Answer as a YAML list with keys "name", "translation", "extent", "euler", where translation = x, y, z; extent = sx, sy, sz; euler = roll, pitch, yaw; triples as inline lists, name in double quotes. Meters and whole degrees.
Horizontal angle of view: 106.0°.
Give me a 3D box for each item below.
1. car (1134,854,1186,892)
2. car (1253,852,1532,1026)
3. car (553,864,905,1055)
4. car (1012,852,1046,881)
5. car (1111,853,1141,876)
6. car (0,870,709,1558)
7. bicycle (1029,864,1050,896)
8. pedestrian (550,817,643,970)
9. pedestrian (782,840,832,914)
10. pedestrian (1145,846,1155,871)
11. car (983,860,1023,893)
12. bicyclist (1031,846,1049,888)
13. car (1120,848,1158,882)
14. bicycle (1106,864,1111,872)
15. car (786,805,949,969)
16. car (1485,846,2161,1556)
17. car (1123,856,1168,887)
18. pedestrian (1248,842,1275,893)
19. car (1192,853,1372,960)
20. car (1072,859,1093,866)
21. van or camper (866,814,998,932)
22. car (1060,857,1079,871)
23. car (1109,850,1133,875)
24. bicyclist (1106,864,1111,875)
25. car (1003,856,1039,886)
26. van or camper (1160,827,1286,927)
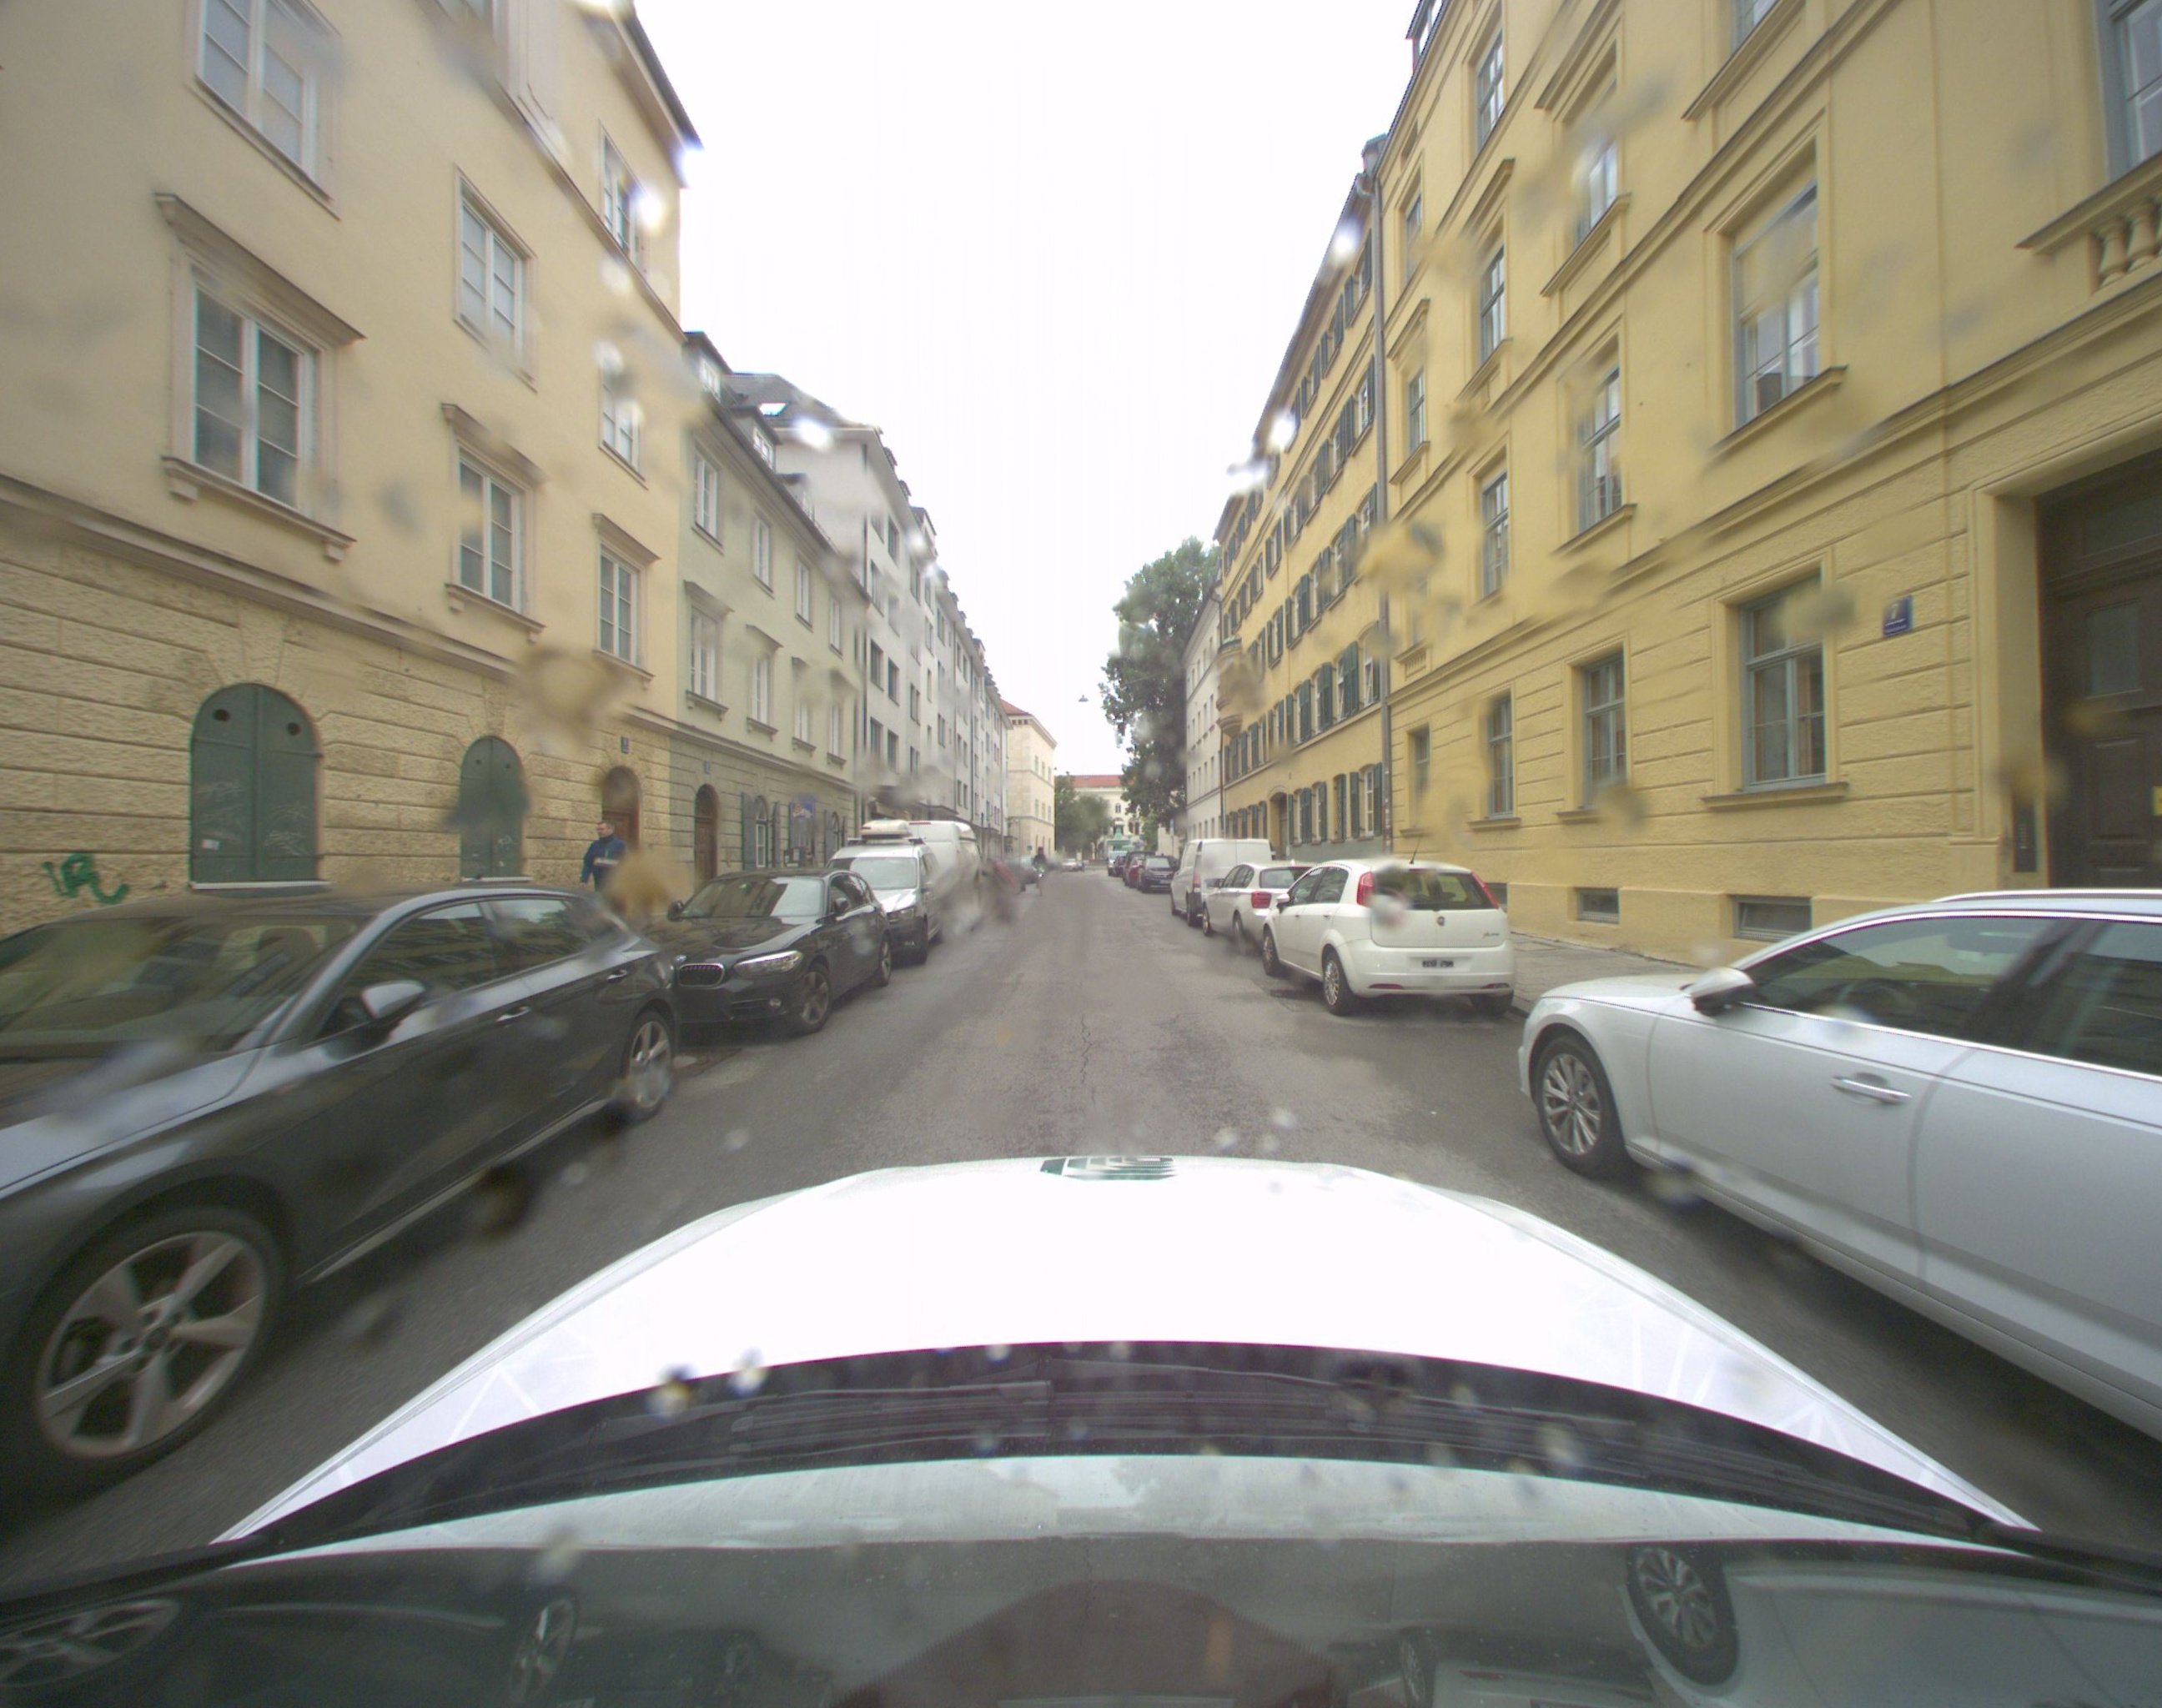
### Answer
- name: "car"
  translation: [3.214, 0.749, 33.688]
  extent: [1.740, 1.464, 3.999]
  euler: [-1, 0, 0]
- name: "car"
  translation: [3.148, 0.748, 9.066]
  extent: [1.618, 1.510, 3.760]
  euler: [-1, 0, -1]
- name: "car"
  translation: [-3.140, 0.833, 8.364]
  extent: [1.852, 1.401, 4.266]
  euler: [0, 0, -2]
- name: "car"
  translation: [-3.325, 0.776, 52.824]
  extent: [1.866, 1.688, 4.519]
  euler: [-2, 0, -1]
- name: "car"
  translation: [3.274, 0.773, 60.004]
  extent: [1.803, 1.600, 4.212]
  euler: [0, 0, -2]
- name: "car"
  translation: [-3.310, 0.804, 3.260]
  extent: [1.853, 1.401, 4.264]
  euler: [0, 0, -3]
- name: "bicycle"
  translation: [-1.576, 0.979, 31.488]
  extent: [0.730, 1.151, 1.998]
  euler: [0, 0, -1]
- name: "pedestrian"
  translation: [-6.632, 0.526, 11.183]
  extent: [0.802, 2.013, 0.750]
  euler: [-1, 0, 1]
- name: "pedestrian"
  translation: [-6.555, 0.528, 19.512]
  extent: [0.802, 1.712, 1.022]
  euler: [-1, 0, 1]
- name: "pedestrian"
  translation: [5.925, 0.399, 70.383]
  extent: [0.791, 2.197, 0.813]
  euler: [0, 0, -1]
- name: "car"
  translation: [-3.566, 0.977, 36.947]
  extent: [1.637, 1.354, 4.049]
  euler: [-2, 0, -6]
- name: "bicyclist"
  translation: [-1.588, 0.494, 31.596]
  extent: [0.684, 1.627, 0.852]
  euler: [0, 0, -1]
- name: "car"
  translation: [3.222, 0.632, 45.866]
  extent: [1.840, 1.776, 4.201]
  euler: [2, -1, 1]
- name: "bicycle"
  translation: [3.884, 1.984, 114.834]
  extent: [0.646, 1.197, 1.951]
  euler: [-1, -1, 2]
- name: "car"
  translation: [-3.251, 0.452, 13.317]
  extent: [1.855, 2.201, 4.552]
  euler: [0, 0, -6]
- name: "car"
  translation: [3.159, 0.736, 2.412]
  extent: [1.711, 1.510, 4.468]
  euler: [-1, 0, 0]
- name: "car"
  translation: [3.042, 0.806, 39.138]
  extent: [1.708, 1.424, 4.455]
  euler: [0, 0, -1]
- name: "pedestrian"
  translation: [6.047, 0.437, 27.283]
  extent: [0.595, 1.639, 0.895]
  euler: [-4, 0, -2]
- name: "car"
  translation: [3.207, 0.755, 13.990]
  extent: [1.811, 1.510, 4.584]
  euler: [-1, 0, -2]
- name: "car"
  translation: [0.309, 1.785, 164.196]
  extent: [3.969, 1.376, 2.002]
  euler: [-1, 0, 3]
- name: "van or camper"
  translation: [-3.231, 0.383, 18.862]
  extent: [1.987, 2.311, 5.478]
  euler: [-1, 0, 0]
- name: "car"
  translation: [-1.355, 1.224, 95.270]
  extent: [1.770, 1.535, 4.216]
  euler: [-2, -1, 4]
- name: "car"
  translation: [3.191, 0.655, 66.071]
  extent: [1.875, 1.924, 4.877]
  euler: [0, 0, 2]
- name: "bicyclist"
  translation: [3.877, 2.150, 114.803]
  extent: [0.654, 1.551, 0.888]
  euler: [-1, -1, 3]
- name: "car"
  translation: [-3.432, 0.939, 47.188]
  extent: [1.768, 1.539, 4.157]
  euler: [-2, 0, -1]
- name: "van or camper"
  translation: [3.146, 0.464, 19.206]
  extent: [1.988, 2.013, 5.230]
  euler: [-1, 0, -1]
